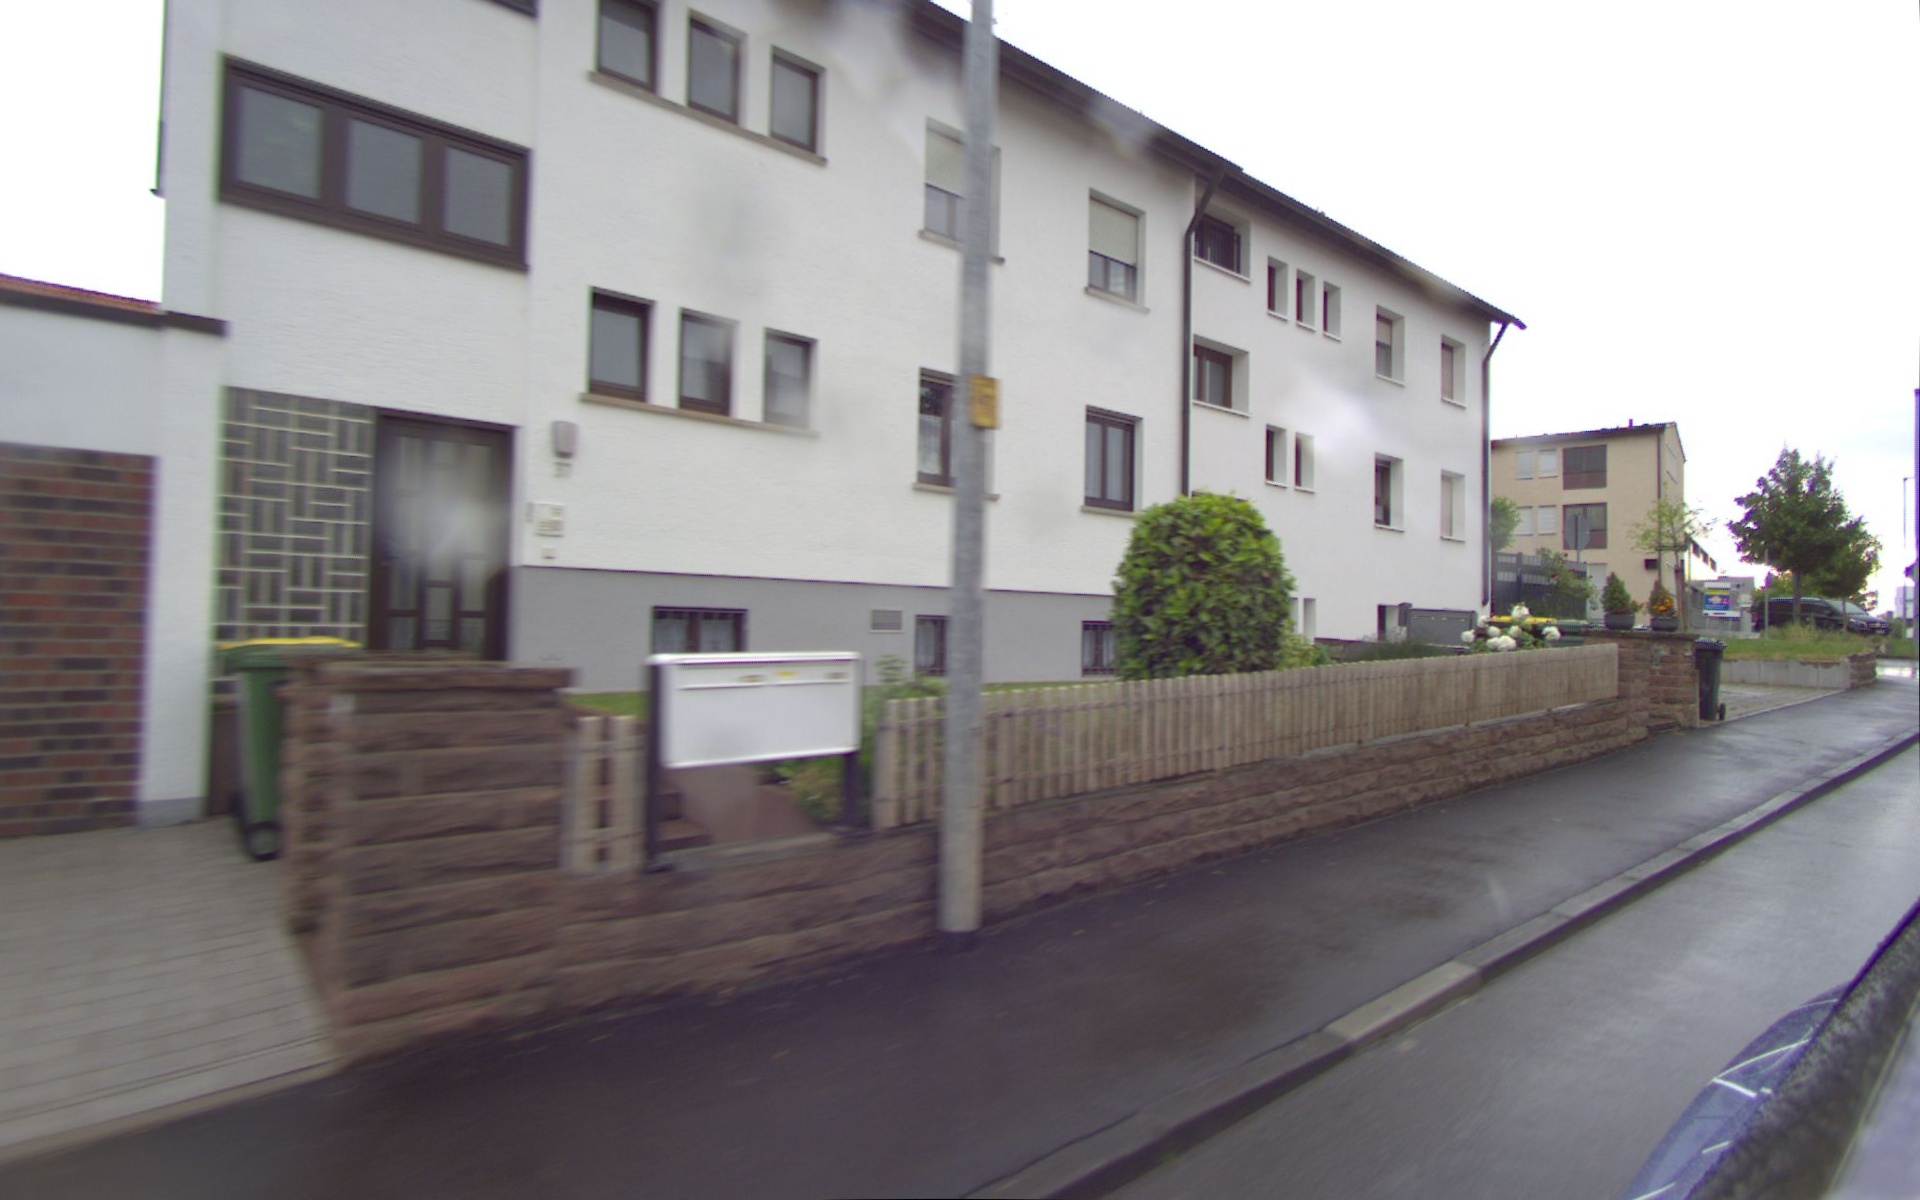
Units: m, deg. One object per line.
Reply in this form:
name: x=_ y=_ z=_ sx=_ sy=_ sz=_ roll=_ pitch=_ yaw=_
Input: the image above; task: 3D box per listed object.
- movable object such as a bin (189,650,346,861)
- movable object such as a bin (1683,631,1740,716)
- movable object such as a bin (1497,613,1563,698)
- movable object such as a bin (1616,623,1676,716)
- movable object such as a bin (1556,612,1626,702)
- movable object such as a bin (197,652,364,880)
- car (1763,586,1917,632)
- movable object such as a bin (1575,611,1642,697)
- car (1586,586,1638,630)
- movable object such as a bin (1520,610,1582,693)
movable object such as a bin: x=-3.915 y=0.834 z=5.722 sx=0.617 sy=1.087 sz=0.651 roll=4 pitch=-5 yaw=-40
movable object such as a bin: x=8.739 y=0.846 z=11.765 sx=0.499 sy=0.953 sz=0.425 roll=4 pitch=-5 yaw=-42
movable object such as a bin: x=7.149 y=0.697 z=12.702 sx=0.621 sy=1.041 sz=0.545 roll=4 pitch=-5 yaw=-42
movable object such as a bin: x=7.968 y=0.801 z=11.748 sx=0.621 sy=1.041 sz=0.425 roll=4 pitch=-5 yaw=-42
movable object such as a bin: x=7.599 y=0.683 z=12.191 sx=0.621 sy=1.041 sz=0.545 roll=4 pitch=-5 yaw=-42
movable object such as a bin: x=-3.530 y=0.821 z=5.263 sx=0.617 sy=1.087 sz=0.498 roll=4 pitch=-5 yaw=-40
car: x=39.975 y=0.371 z=46.161 sx=2.011 sy=1.943 sz=5.125 roll=2 pitch=0 yaw=-11
movable object such as a bin: x=8.103 y=0.679 z=12.653 sx=0.621 sy=1.041 sz=0.545 roll=4 pitch=-5 yaw=-42
car: x=34.316 y=0.485 z=53.216 sx=1.790 sy=2.040 sz=4.534 roll=-2 pitch=-4 yaw=39
movable object such as a bin: x=7.684 y=0.673 z=13.158 sx=0.621 sy=1.041 sz=0.528 roll=4 pitch=-5 yaw=-42
